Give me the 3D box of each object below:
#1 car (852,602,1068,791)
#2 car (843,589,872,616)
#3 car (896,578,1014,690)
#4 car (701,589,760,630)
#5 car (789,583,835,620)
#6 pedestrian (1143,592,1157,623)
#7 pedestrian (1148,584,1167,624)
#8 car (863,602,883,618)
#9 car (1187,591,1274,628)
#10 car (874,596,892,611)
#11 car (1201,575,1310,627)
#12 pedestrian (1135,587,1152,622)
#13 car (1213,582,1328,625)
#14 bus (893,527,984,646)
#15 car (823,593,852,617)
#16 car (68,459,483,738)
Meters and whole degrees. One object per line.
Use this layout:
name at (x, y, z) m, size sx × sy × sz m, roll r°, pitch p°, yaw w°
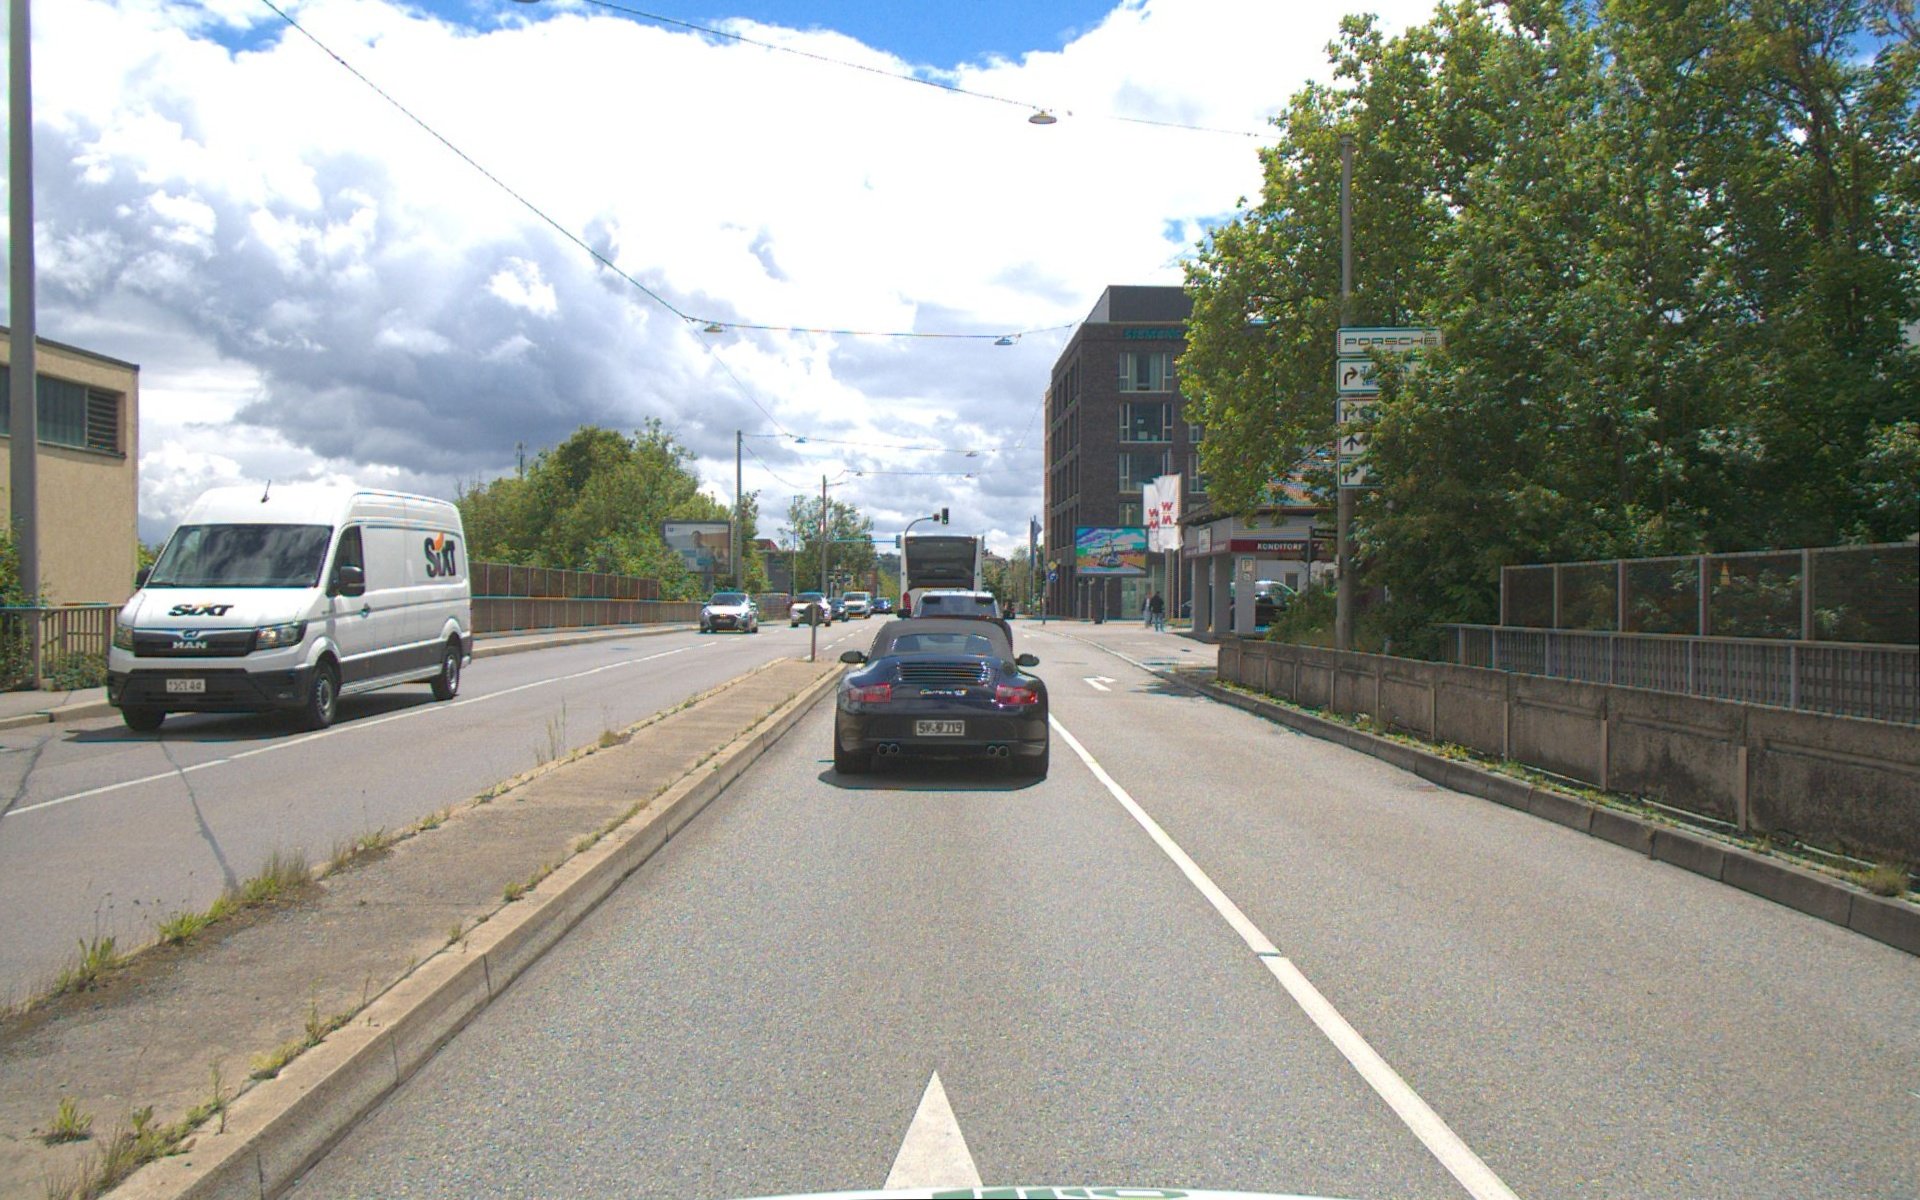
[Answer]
car at (-0.092, 0.772, 15.139) m, size 1.685 × 1.297 × 4.087 m, roll 1°, pitch 2°, yaw -3°
car at (-7.600, 0.202, 122.625) m, size 1.863 × 1.920 × 5.312 m, roll -2°, pitch 0°, yaw -1°
car at (-0.127, 0.514, 28.502) m, size 1.842 × 1.621 × 4.229 m, roll 2°, pitch 2°, yaw -2°
car at (-8.151, 0.303, 58.987) m, size 1.603 × 1.387 × 4.194 m, roll 0°, pitch 1°, yaw -1°
car at (-6.726, 0.054, 75.356) m, size 1.773 × 1.587 × 4.206 m, roll 1°, pitch 0°, yaw -2°
pedestrian at (10.224, 0.405, 88.931) m, size 0.657 × 1.690 × 0.742 m, roll 0°, pitch 0°, yaw -2°
pedestrian at (8.448, 0.174, 70.799) m, size 0.666 × 1.726 × 0.598 m, roll 0°, pitch 0°, yaw 24°
car at (-8.040, 0.926, 153.162) m, size 1.629 × 1.440 × 3.802 m, roll 0°, pitch 0°, yaw 0°
car at (12.567, 0.446, 76.964) m, size 3.682 × 1.465 × 1.719 m, roll -3°, pitch 0°, yaw 0°
car at (-7.967, 0.344, 170.985) m, size 1.629 × 1.574 × 3.802 m, roll 0°, pitch 0°, yaw 0°
car at (12.304, 0.034, 69.078) m, size 4.144 × 1.970 × 2.029 m, roll -2°, pitch 0°, yaw 0°
pedestrian at (9.348, 0.231, 84.200) m, size 0.693 × 1.726 × 0.924 m, roll 1°, pitch 0°, yaw -4°
car at (12.369, 0.156, 66.078) m, size 4.212 × 1.539 × 1.846 m, roll -2°, pitch -1°, yaw 0°
bus at (-0.617, -0.666, 55.733) m, size 2.634 × 3.311 × 12.062 m, roll 2°, pitch 3°, yaw 0°
car at (-7.610, 0.333, 103.068) m, size 1.595 × 1.455 × 3.999 m, roll 0°, pitch 0°, yaw -1°
car at (-7.487, -0.052, 19.133) m, size 2.025 × 2.616 × 6.820 m, roll -1°, pitch 1°, yaw -1°
